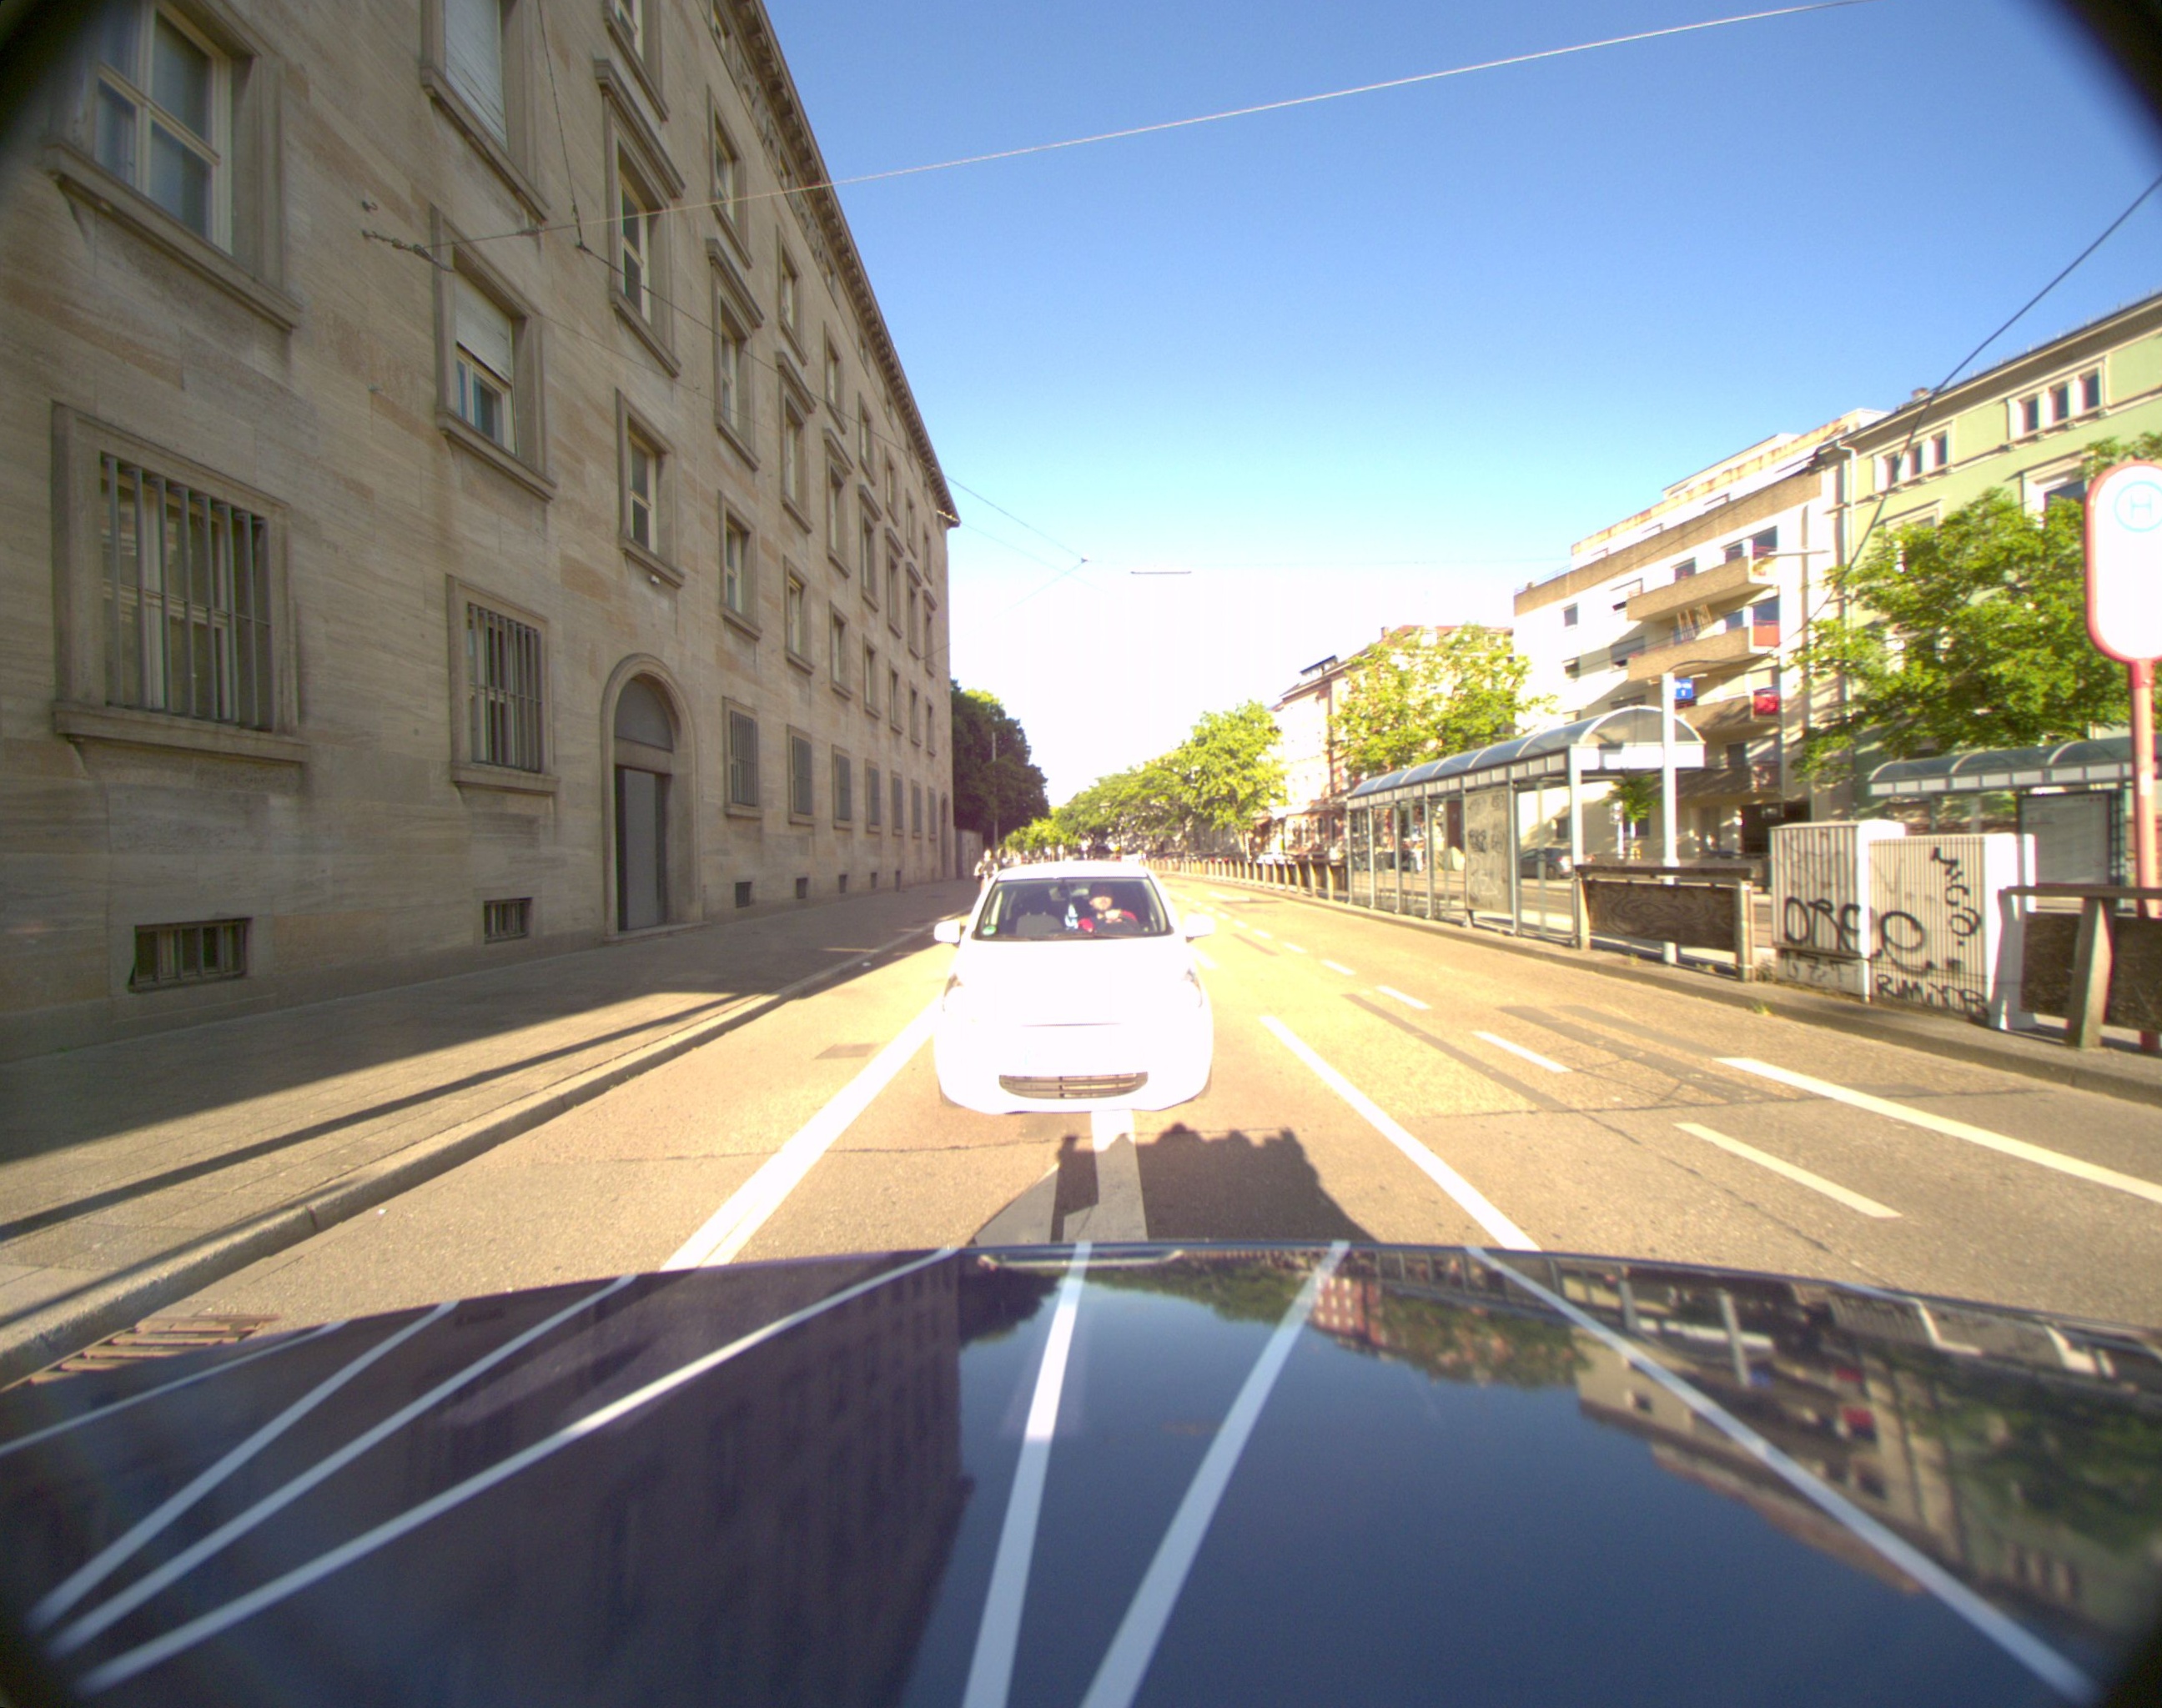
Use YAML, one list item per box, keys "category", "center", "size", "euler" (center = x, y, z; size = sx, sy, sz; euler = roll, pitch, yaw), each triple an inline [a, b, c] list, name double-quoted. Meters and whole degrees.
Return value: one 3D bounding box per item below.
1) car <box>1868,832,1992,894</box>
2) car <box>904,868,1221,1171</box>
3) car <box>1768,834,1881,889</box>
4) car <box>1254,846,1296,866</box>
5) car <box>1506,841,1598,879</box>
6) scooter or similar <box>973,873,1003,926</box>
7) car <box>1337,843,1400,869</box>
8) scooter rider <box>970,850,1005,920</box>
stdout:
- category: "car"
  center: [24.464, 0.228, 21.887]
  size: [3.605, 1.558, 1.627]
  euler: [-3, 1, -29]
- category: "car"
  center: [-0.073, 0.907, 5.807]
  size: [1.612, 1.462, 3.631]
  euler: [-2, 0, 1]
- category: "car"
  center: [23.886, 0.221, 24.399]
  size: [3.605, 1.558, 1.627]
  euler: [-3, 1, -29]
- category: "car"
  center: [16.262, 0.149, 63.474]
  size: [3.607, 1.558, 1.627]
  euler: [-3, 1, -42]
- category: "car"
  center: [20.917, 0.228, 33.929]
  size: [1.631, 1.558, 3.598]
  euler: [-2, 1, -5]
- category: "scooter or similar"
  center: [-2.245, 1.081, 18.422]
  size: [0.536, 1.178, 1.328]
  euler: [-1, 0, 0]
- category: "car"
  center: [19.547, 0.119, 51.720]
  size: [3.599, 1.558, 1.630]
  euler: [-2, 1, -7]
- category: "scooter rider"
  center: [-2.253, 0.735, 18.356]
  size: [0.731, 1.661, 0.556]
  euler: [-1, 1, 0]
